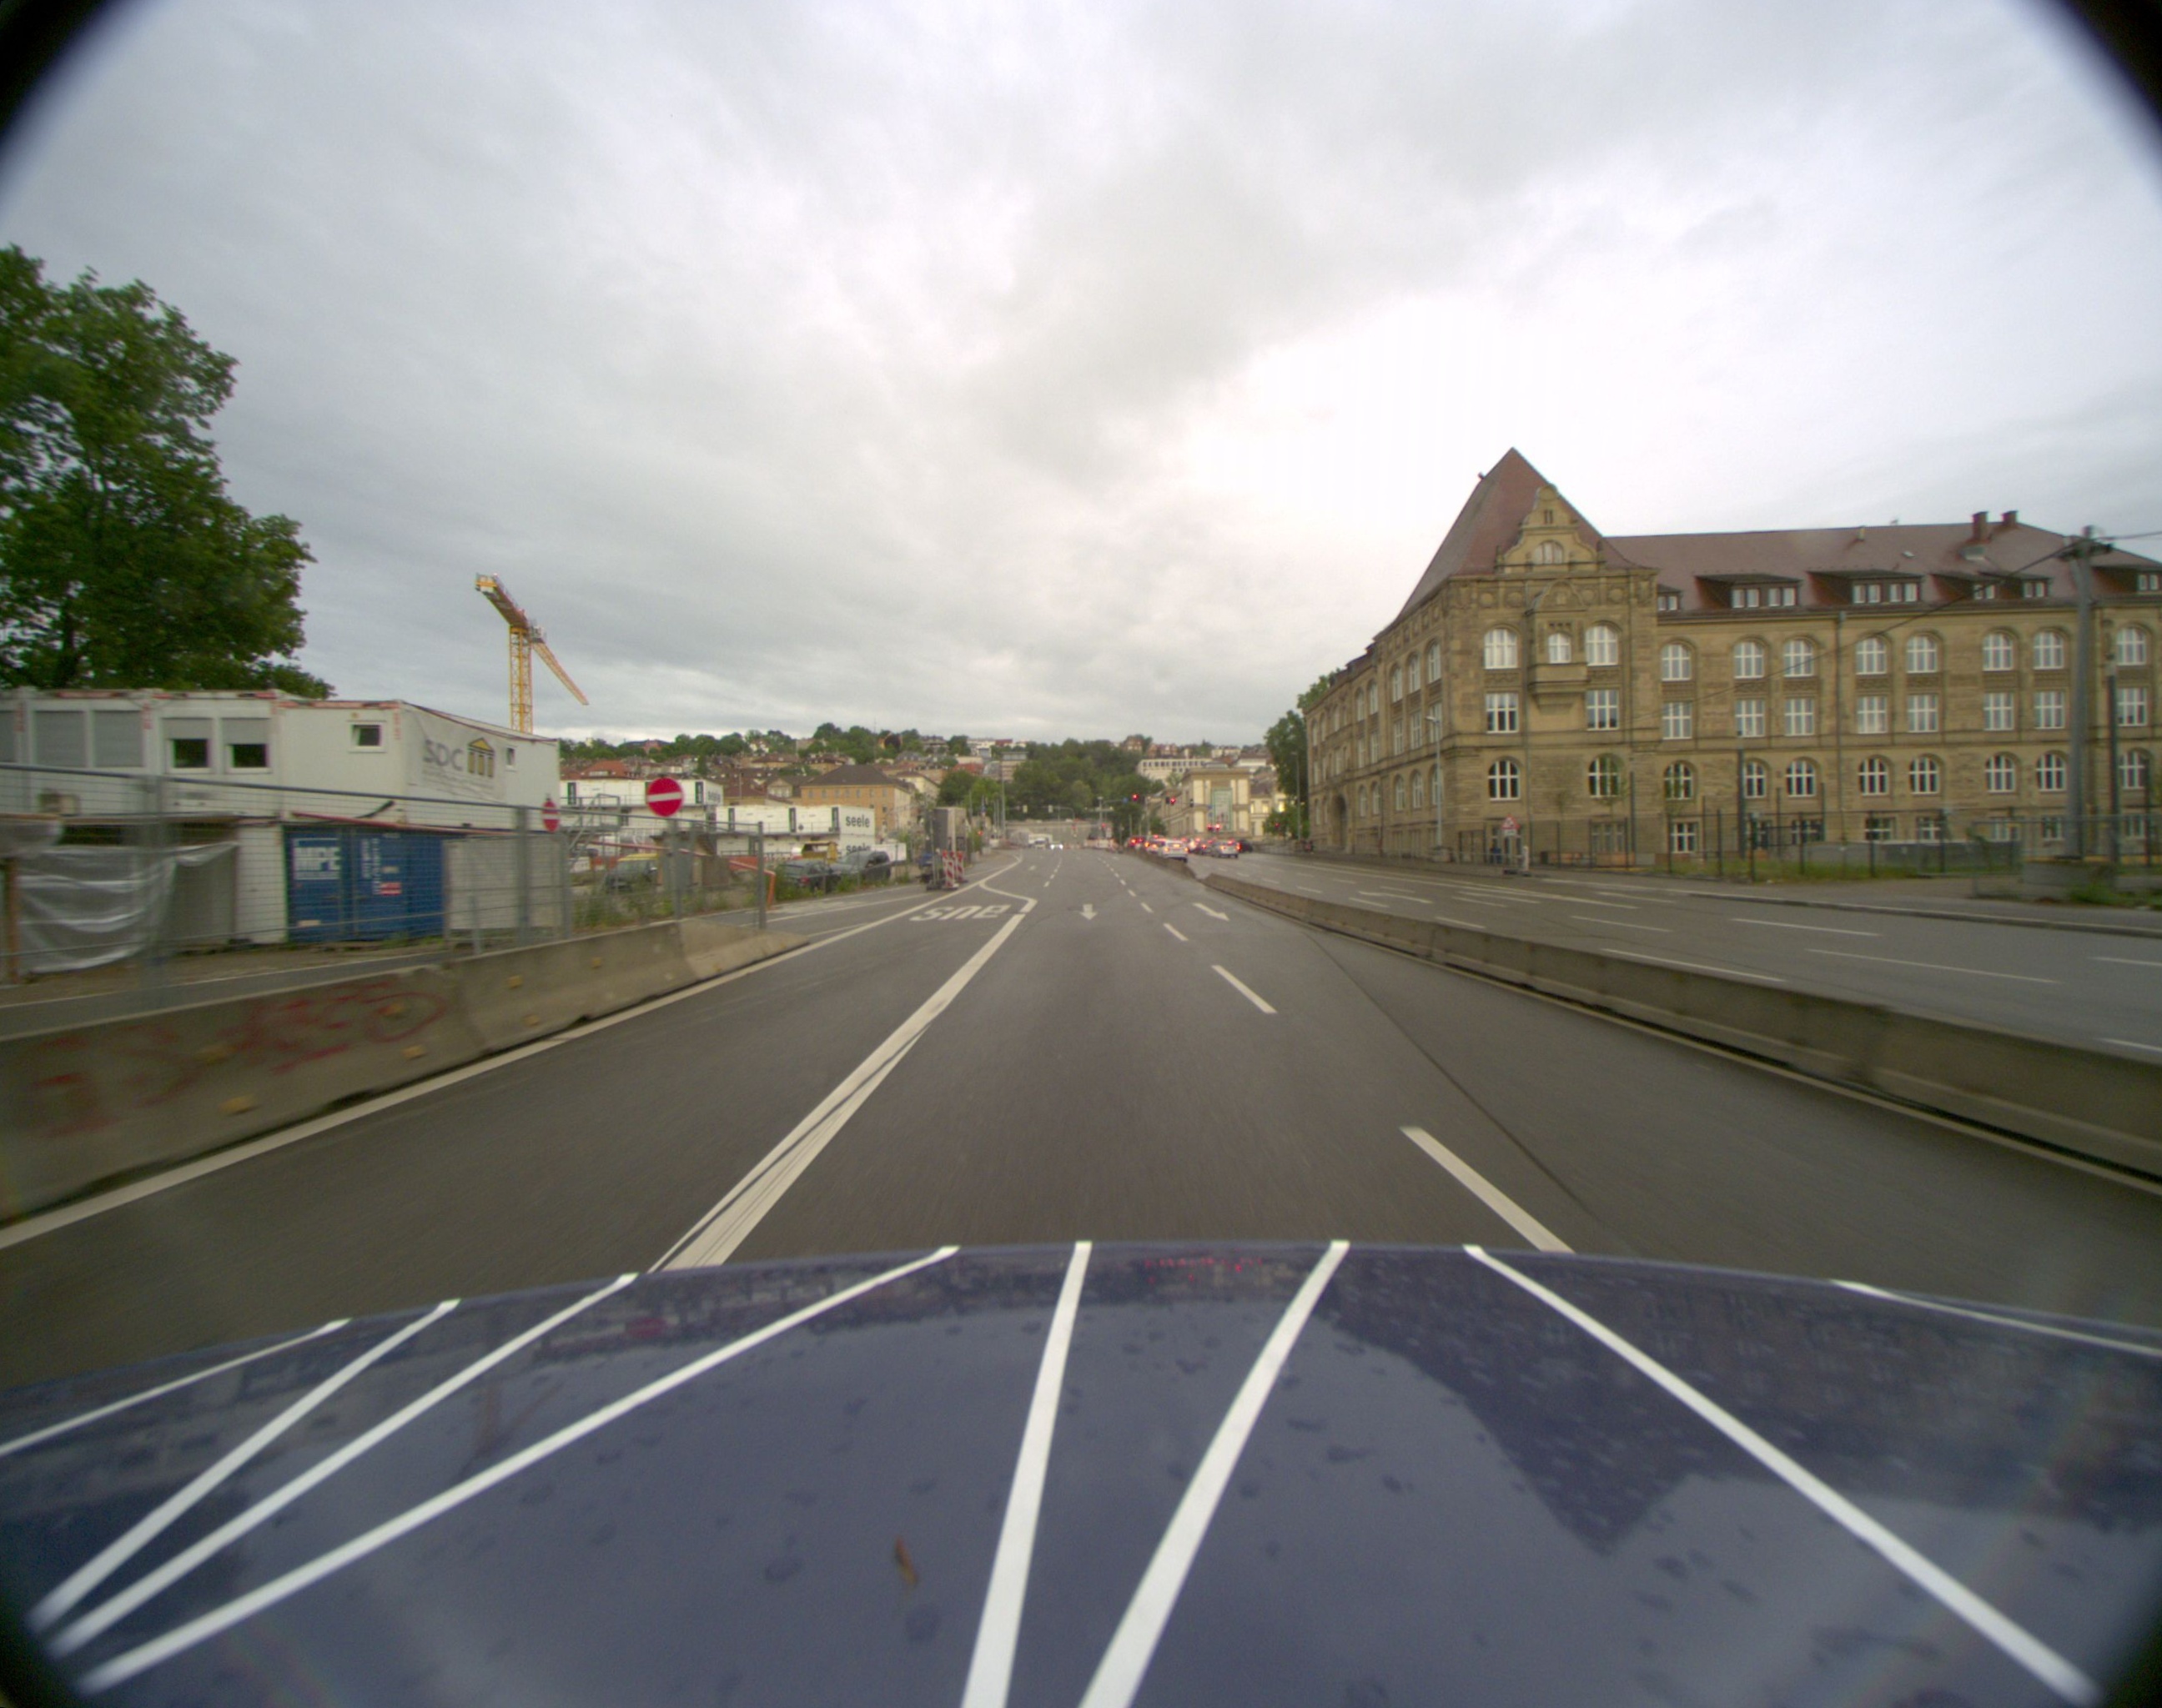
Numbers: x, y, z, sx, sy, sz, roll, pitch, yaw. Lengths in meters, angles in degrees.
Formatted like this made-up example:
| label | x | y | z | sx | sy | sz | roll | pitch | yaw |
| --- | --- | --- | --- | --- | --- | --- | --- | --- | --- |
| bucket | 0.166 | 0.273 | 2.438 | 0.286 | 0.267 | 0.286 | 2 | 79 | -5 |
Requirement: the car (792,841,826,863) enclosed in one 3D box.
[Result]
| label | x | y | z | sx | sy | sz | roll | pitch | yaw |
| --- | --- | --- | --- | --- | --- | --- | --- | --- | --- |
| car | -24.713 | -0.210 | 69.213 | 2.020 | 1.891 | 4.649 | 0 | 1 | -9 |

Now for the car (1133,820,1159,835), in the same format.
| label | x | y | z | sx | sy | sz | roll | pitch | yaw |
| --- | --- | --- | --- | --- | --- | --- | --- | --- | --- |
| car | 6.626 | -2.717 | 77.478 | 1.999 | 1.493 | 4.818 | 1 | 2 | -3 |

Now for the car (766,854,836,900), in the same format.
| label | x | y | z | sx | sy | sz | roll | pitch | yaw |
| --- | --- | --- | --- | --- | --- | --- | --- | --- | --- |
| car | -11.520 | 0.896 | 31.544 | 1.857 | 1.477 | 3.994 | 0 | 5 | -7 |

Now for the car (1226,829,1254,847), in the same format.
| label | x | y | z | sx | sy | sz | roll | pitch | yaw |
| --- | --- | --- | --- | --- | --- | --- | --- | --- | --- |
| car | 18.343 | -1.858 | 87.845 | 2.000 | 2.002 | 3.995 | 0 | 2 | -8 |

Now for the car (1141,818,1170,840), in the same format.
| label | x | y | z | sx | sy | sz | roll | pitch | yaw |
| --- | --- | --- | --- | --- | --- | --- | --- | --- | --- |
| car | 6.823 | -2.315 | 70.299 | 1.999 | 1.856 | 5.592 | 1 | 2 | -2 |

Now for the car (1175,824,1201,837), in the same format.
| label | x | y | z | sx | sy | sz | roll | pitch | yaw |
| --- | --- | --- | --- | --- | --- | --- | --- | --- | --- |
| car | 11.552 | -2.578 | 82.269 | 1.999 | 1.375 | 4.209 | 1 | 2 | -4 |

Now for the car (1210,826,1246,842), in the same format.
| label | x | y | z | sx | sy | sz | roll | pitch | yaw |
| --- | --- | --- | --- | --- | --- | --- | --- | --- | --- |
| car | 13.003 | -1.772 | 67.623 | 1.999 | 1.375 | 4.208 | 0 | 2 | -6 |

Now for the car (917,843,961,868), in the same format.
| label | x | y | z | sx | sy | sz | roll | pitch | yaw |
| --- | --- | --- | --- | --- | --- | --- | --- | --- | --- |
| car | -9.421 | 0.042 | 50.745 | 1.837 | 1.433 | 4.412 | -2 | 2 | 3 |

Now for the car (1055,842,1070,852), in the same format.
| label | x | y | z | sx | sy | sz | roll | pitch | yaw |
| --- | --- | --- | --- | --- | --- | --- | --- | --- | --- |
| car | -3.079 | -1.167 | 125.460 | 2.000 | 1.561 | 3.995 | 0 | 2 | -8 |

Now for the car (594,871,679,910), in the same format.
| label | x | y | z | sx | sy | sz | roll | pitch | yaw |
| --- | --- | --- | --- | --- | --- | --- | --- | --- | --- |
| car | -19.439 | 1.556 | 33.428 | 1.717 | 1.299 | 3.996 | -2 | 2 | -7 |

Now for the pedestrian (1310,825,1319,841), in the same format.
| label | x | y | z | sx | sy | sz | roll | pitch | yaw |
| --- | --- | --- | --- | --- | --- | --- | --- | --- | --- |
| pedestrian | 24.123 | -2.186 | 78.376 | 0.618 | 1.576 | 0.734 | 0 | 2 | -7 |

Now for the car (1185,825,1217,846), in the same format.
| label | x | y | z | sx | sy | sz | roll | pitch | yaw |
| --- | --- | --- | --- | --- | --- | --- | --- | --- | --- |
| car | 11.870 | -1.881 | 75.401 | 2.000 | 2.002 | 3.995 | 0 | 2 | -8 |

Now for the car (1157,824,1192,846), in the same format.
| label | x | y | z | sx | sy | sz | roll | pitch | yaw |
| --- | --- | --- | --- | --- | --- | --- | --- | --- | --- |
| car | 6.924 | -1.446 | 56.837 | 1.899 | 1.559 | 4.895 | 1 | 2 | -2 |

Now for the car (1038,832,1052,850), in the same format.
| label | x | y | z | sx | sy | sz | roll | pitch | yaw |
| --- | --- | --- | --- | --- | --- | --- | --- | --- | --- |
| car | -8.501 | -3.137 | 180.032 | 2.836 | 3.991 | 8.722 | 1 | 2 | 1 |

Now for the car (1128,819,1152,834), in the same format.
| label | x | y | z | sx | sy | sz | roll | pitch | yaw |
| --- | --- | --- | --- | --- | --- | --- | --- | --- | --- |
| car | 6.427 | -3.013 | 83.680 | 1.999 | 1.559 | 5.378 | 1 | 2 | -3 |

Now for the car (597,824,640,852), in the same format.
| label | x | y | z | sx | sy | sz | roll | pitch | yaw |
| --- | --- | --- | --- | --- | --- | --- | --- | --- | --- |
| car | -42.179 | -1.495 | 69.406 | 2.001 | 2.428 | 4.975 | 0 | 2 | -15 |

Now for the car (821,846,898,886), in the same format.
| label | x | y | z | sx | sy | sz | roll | pitch | yaw |
| --- | --- | --- | --- | --- | --- | --- | --- | --- | --- |
| car | -10.735 | 0.536 | 37.187 | 1.925 | 1.640 | 4.414 | 4 | 2 | 7 |

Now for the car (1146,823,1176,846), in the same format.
| label | x | y | z | sx | sy | sz | roll | pitch | yaw |
| --- | --- | --- | --- | --- | --- | --- | --- | --- | --- |
| car | 6.657 | -1.674 | 63.601 | 1.914 | 1.856 | 4.376 | 1 | 2 | -2 |

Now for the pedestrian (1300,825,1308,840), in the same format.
| label | x | y | z | sx | sy | sz | roll | pitch | yaw |
| --- | --- | --- | --- | --- | --- | --- | --- | --- | --- |
| pedestrian | 23.034 | -2.217 | 78.547 | 0.618 | 1.576 | 0.734 | 1 | 2 | 0 |
